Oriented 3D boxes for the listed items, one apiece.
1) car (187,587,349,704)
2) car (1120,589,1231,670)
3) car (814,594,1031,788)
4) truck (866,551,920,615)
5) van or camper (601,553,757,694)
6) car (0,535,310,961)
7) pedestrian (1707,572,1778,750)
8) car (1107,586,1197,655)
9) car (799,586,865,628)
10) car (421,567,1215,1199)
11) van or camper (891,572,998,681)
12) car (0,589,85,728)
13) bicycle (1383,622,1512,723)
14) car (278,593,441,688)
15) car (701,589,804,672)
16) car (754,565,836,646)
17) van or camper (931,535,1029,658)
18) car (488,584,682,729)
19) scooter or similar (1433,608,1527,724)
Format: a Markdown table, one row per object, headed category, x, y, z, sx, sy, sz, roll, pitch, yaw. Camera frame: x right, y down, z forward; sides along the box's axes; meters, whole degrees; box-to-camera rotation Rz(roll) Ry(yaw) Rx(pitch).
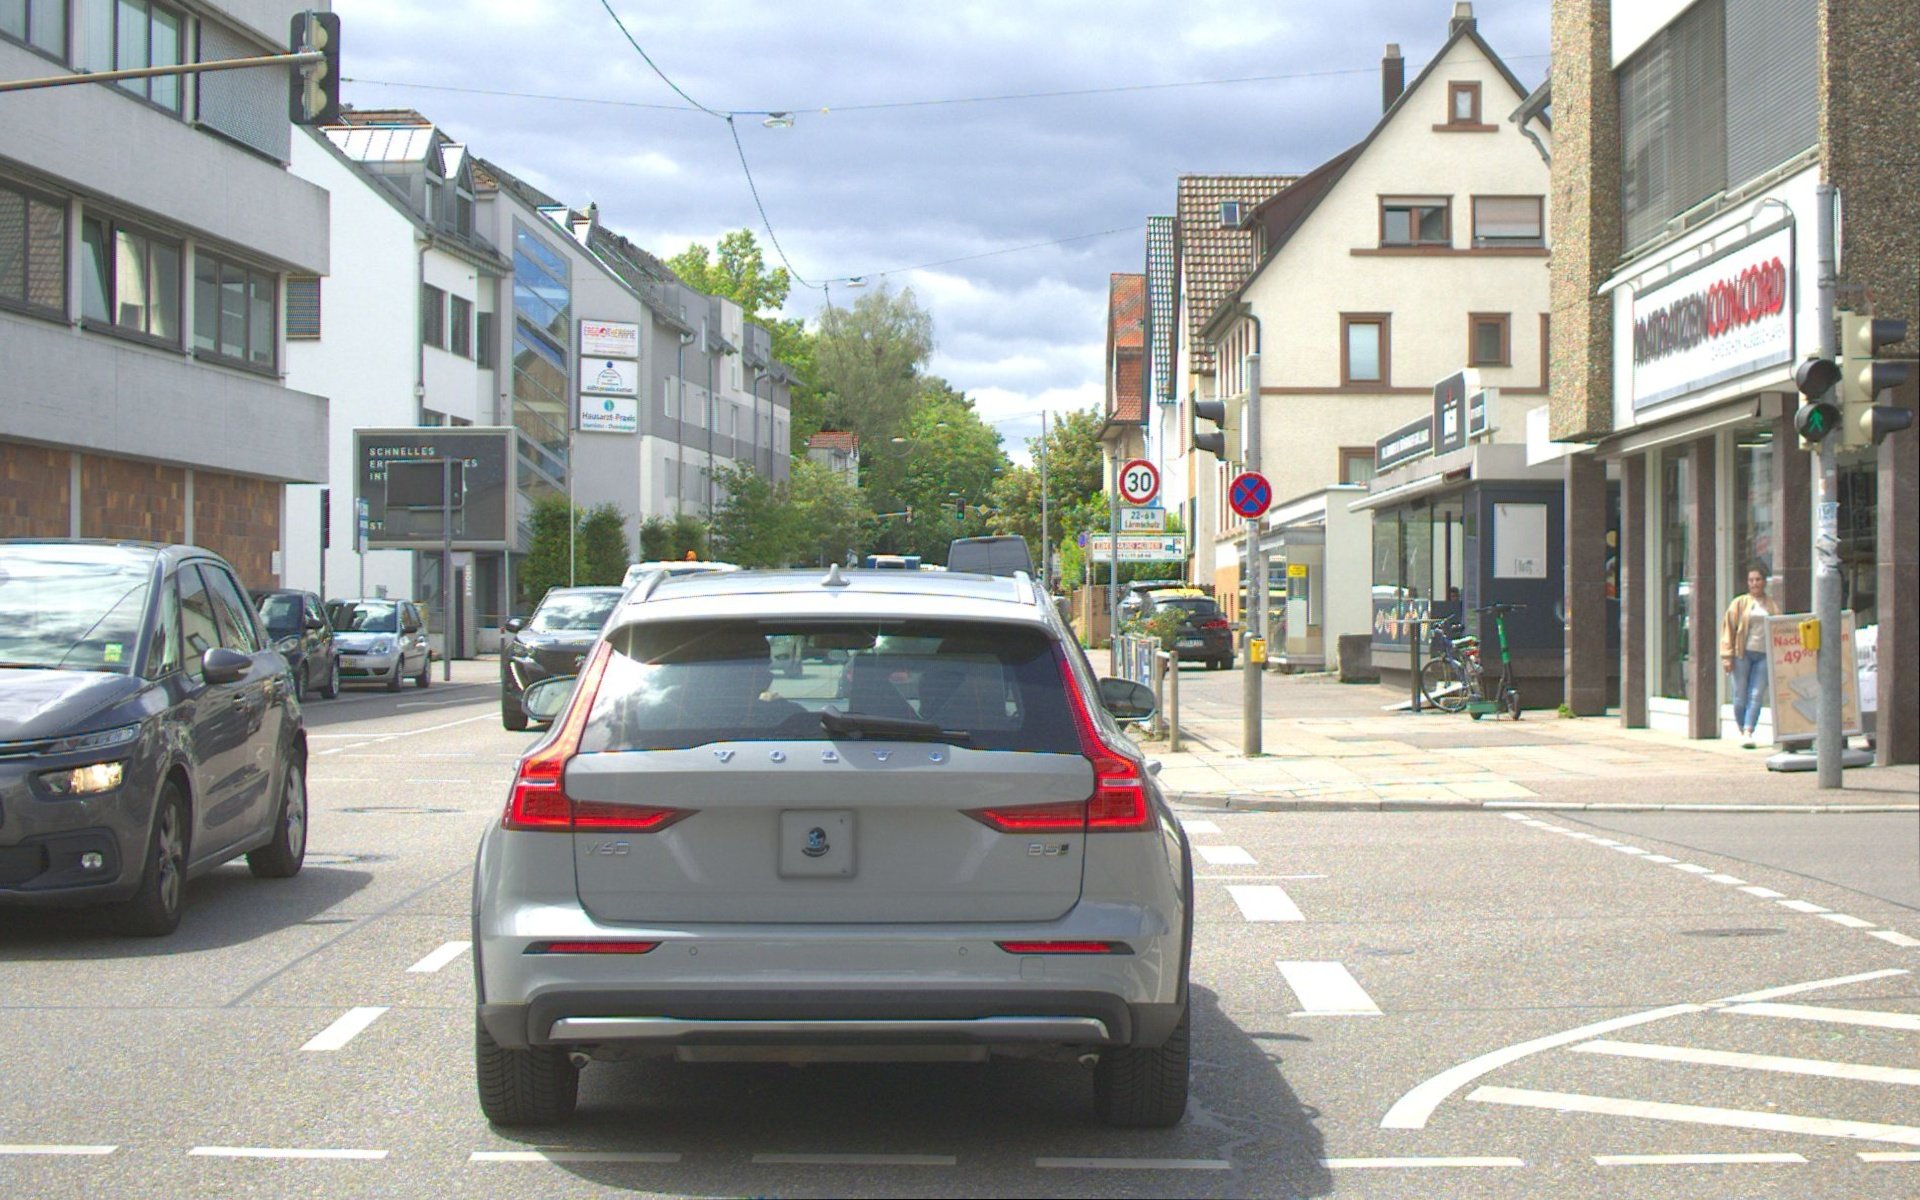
| category | x | y | z | sx | sy | sz | roll | pitch | yaw |
| --- | --- | --- | --- | --- | --- | --- | --- | --- | --- |
| car | -9.668 | 0.612 | 48.220 | 1.607 | 1.538 | 2.944 | 2 | 0 | 1 |
| car | 4.092 | 0.593 | 65.708 | 1.710 | 1.459 | 4.000 | 1 | -1 | -2 |
| car | -0.309 | 0.717 | 28.422 | 1.650 | 1.477 | 3.607 | 1 | 0 | -1 |
| truck | -3.091 | -0.790 | 160.229 | 2.276 | 2.877 | 7.079 | 0 | 0 | 1 |
| van or camper | -3.967 | 0.291 | 49.252 | 1.864 | 1.891 | 4.692 | 0 | 1 | 0 |
| car | -4.030 | 0.525 | 14.828 | 1.789 | 1.584 | 4.101 | -1 | 1 | -2 |
| pedestrian | 6.533 | 0.505 | 28.704 | 0.504 | 1.454 | 0.499 | -3 | -1 | 13 |
| car | 4.396 | 0.489 | 79.250 | 1.883 | 1.495 | 3.971 | 1 | -1 | 1 |
| car | -4.329 | 0.226 | 116.504 | 1.762 | 1.421 | 3.999 | 0 | 0 | 5 |
| car | -0.355 | 0.657 | 9.985 | 1.836 | 1.481 | 4.000 | 0 | 1 | -1 |
| van or camper | -0.290 | 0.499 | 60.845 | 1.819 | 1.829 | 4.000 | 0 | -2 | -1 |
| car | -10.904 | 0.596 | 36.765 | 1.785 | 1.459 | 4.086 | 2 | 0 | 4 |
| bicycle | 5.758 | 0.840 | 40.766 | 0.554 | 1.140 | 2.301 | -1 | 0 | -18 |
| car | -9.482 | 0.615 | 54.543 | 1.755 | 1.422 | 3.862 | 0 | 0 | 2 |
| car | -3.968 | 0.562 | 66.285 | 1.668 | 1.548 | 4.215 | 0 | 0 | 1 |
| car | -4.011 | 0.138 | 84.139 | 1.838 | 1.911 | 4.156 | 1 | 0 | -1 |
| van or camper | 0.462 | -0.090 | 77.563 | 2.123 | 2.677 | 4.781 | 0 | 0 | 1 |
| car | -4.023 | 0.572 | 37.399 | 1.683 | 1.492 | 3.967 | 0 | 0 | 0 |
| scooter or similar | 5.735 | 0.729 | 37.970 | 0.340 | 1.249 | 1.246 | -2 | -1 | -26 |
